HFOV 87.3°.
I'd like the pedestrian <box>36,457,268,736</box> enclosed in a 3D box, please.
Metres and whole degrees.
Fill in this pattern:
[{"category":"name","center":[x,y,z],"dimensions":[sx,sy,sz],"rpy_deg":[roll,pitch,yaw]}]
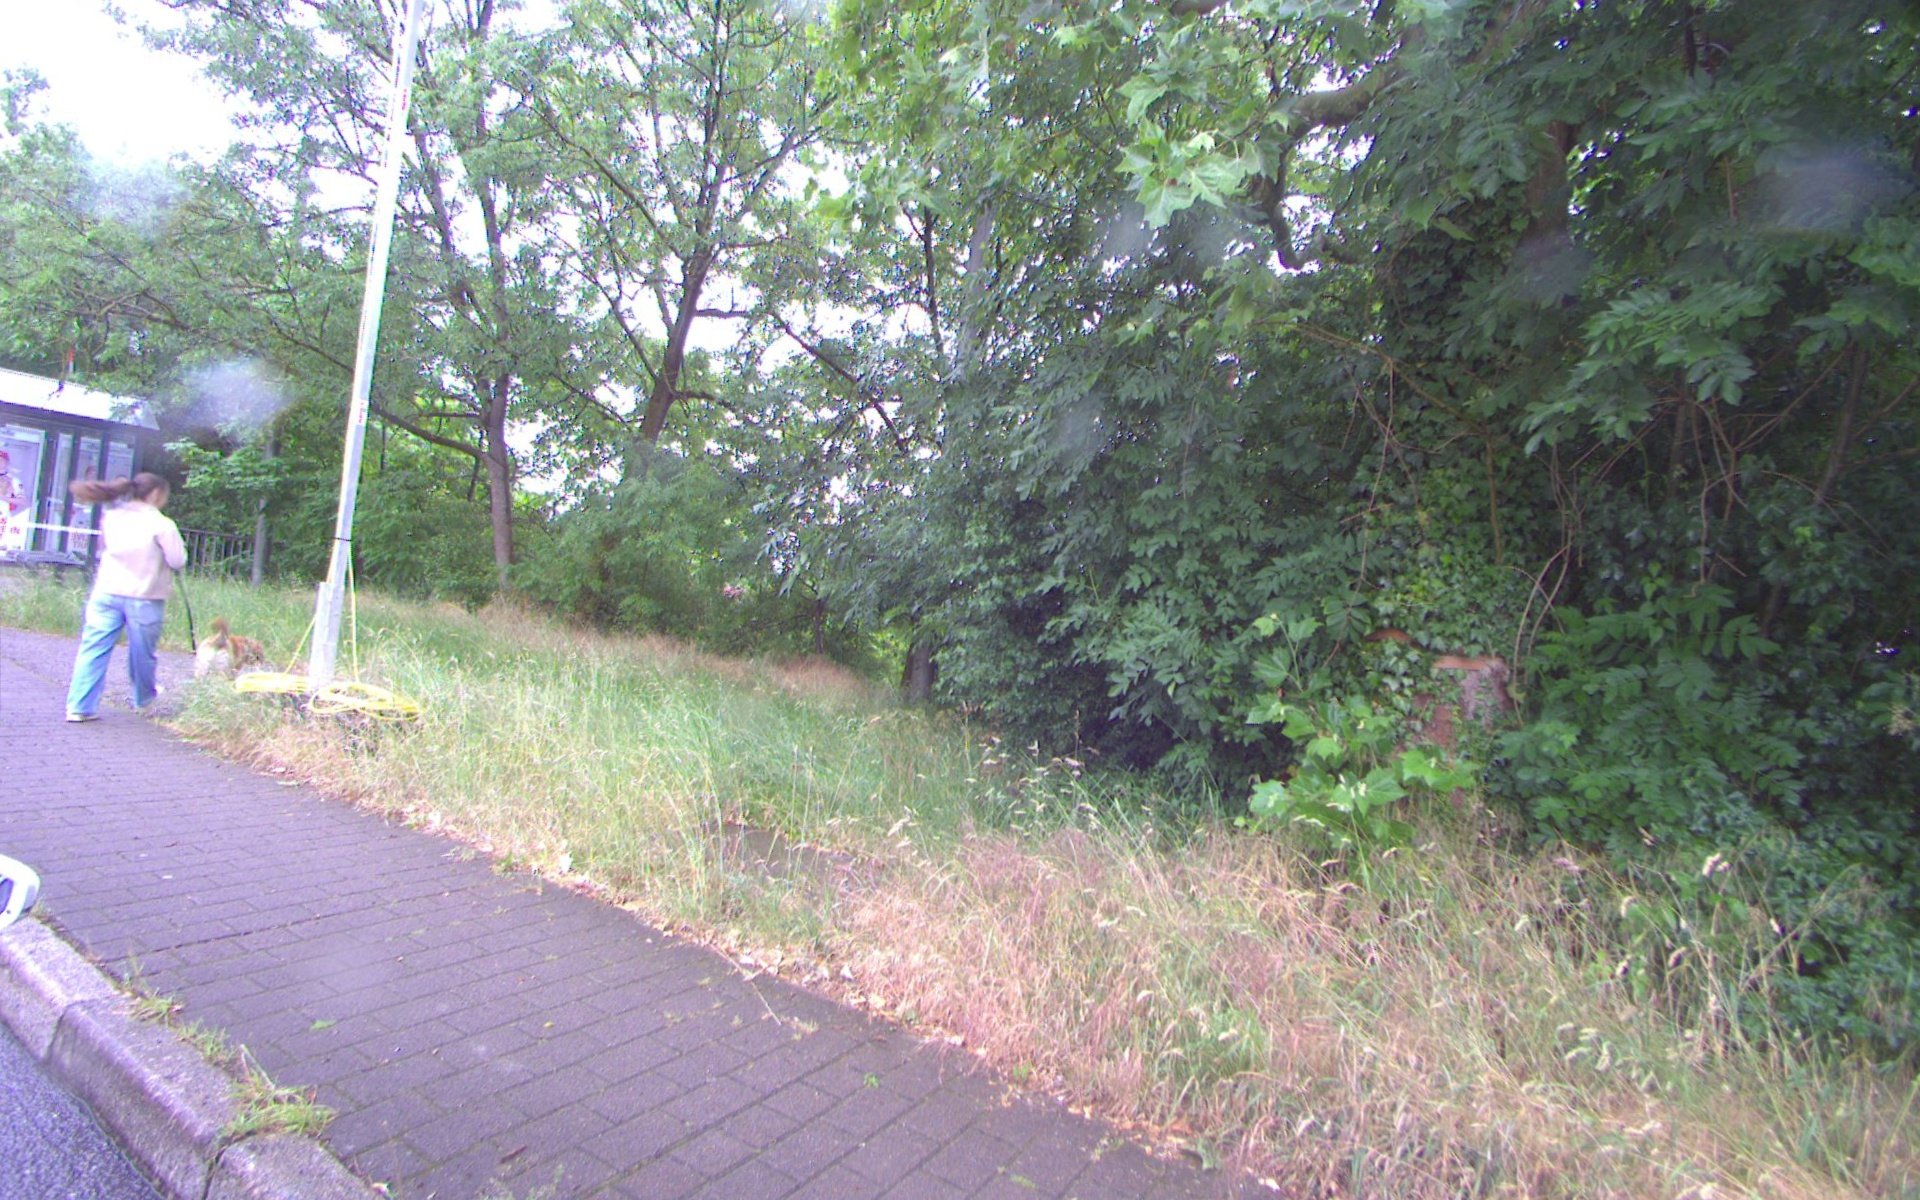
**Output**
[{"category":"pedestrian","center":[-5.201,-0.008,6.534],"dimensions":[0.720,1.622,0.752],"rpy_deg":[7,-1,-6]}]
